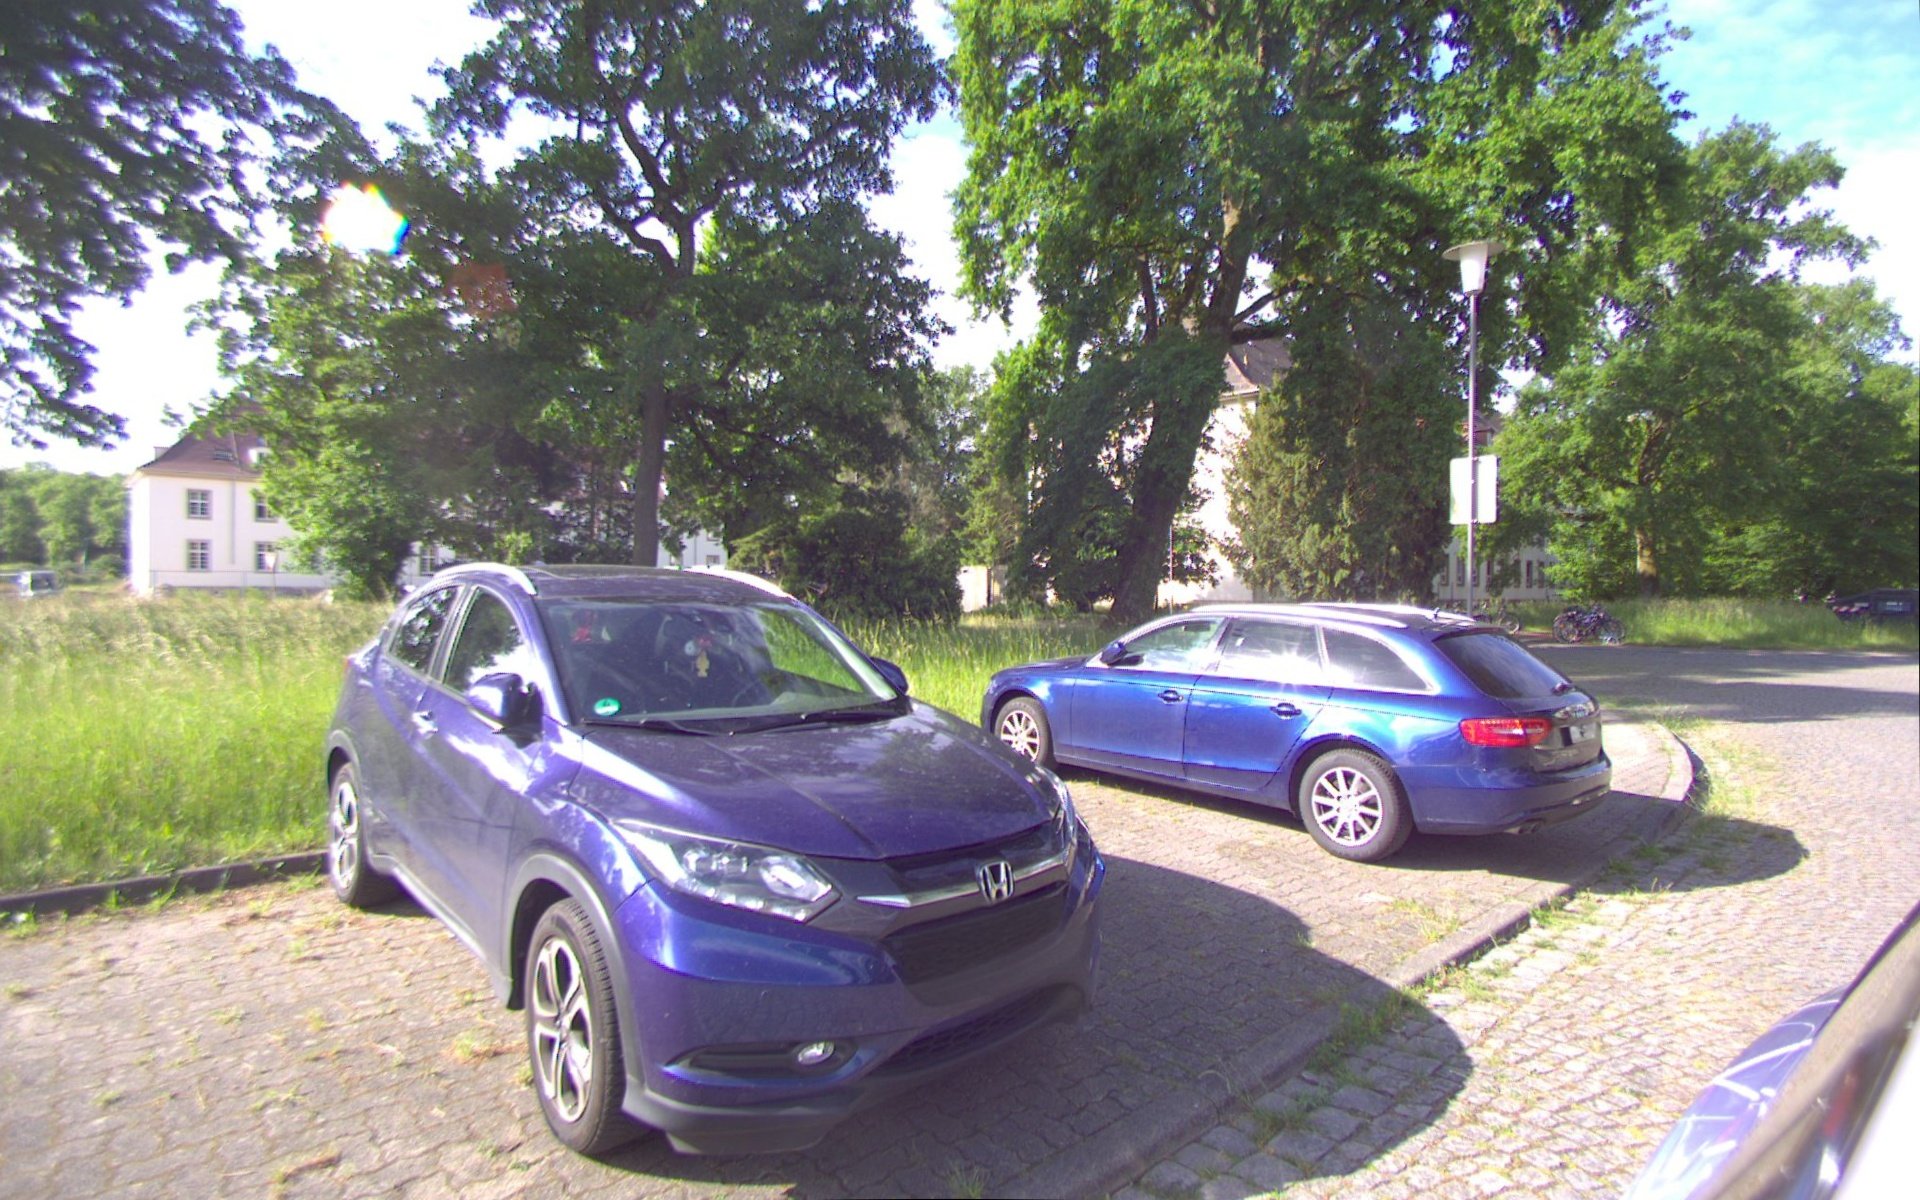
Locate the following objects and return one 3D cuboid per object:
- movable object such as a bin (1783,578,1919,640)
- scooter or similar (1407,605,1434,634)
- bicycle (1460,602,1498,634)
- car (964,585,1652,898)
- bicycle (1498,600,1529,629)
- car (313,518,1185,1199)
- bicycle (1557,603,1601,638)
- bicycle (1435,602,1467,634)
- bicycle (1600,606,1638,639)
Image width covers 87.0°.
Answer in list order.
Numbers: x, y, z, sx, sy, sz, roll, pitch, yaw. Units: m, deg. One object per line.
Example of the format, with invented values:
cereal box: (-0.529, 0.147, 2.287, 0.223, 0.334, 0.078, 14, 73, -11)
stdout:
movable object such as a bin: (28.436, 0.248, 30.748, 1.959, 1.781, 4.948, 0, 1, -28)
scooter or similar: (15.386, 0.637, 33.817, 0.767, 0.941, 0.257, 1, 0, 42)
bicycle: (17.204, 0.602, 33.550, 1.008, 1.029, 0.711, 0, 1, -35)
car: (2.099, 0.674, 7.294, 1.683, 1.425, 4.460, 0, 2, -39)
bicycle: (19.972, 0.512, 36.531, 0.699, 1.029, 1.024, 0, 1, 10)
car: (-1.302, 0.595, 4.267, 1.722, 1.611, 4.182, 0, 1, -42)
bicycle: (18.821, 0.616, 30.759, 1.232, 1.029, 0.711, 0, 1, -35)
bicycle: (16.427, 0.586, 33.866, 1.009, 1.029, 0.618, 0, 1, -40)
bicycle: (19.751, 0.658, 30.318, 0.745, 0.946, 1.122, 1, 1, 44)
